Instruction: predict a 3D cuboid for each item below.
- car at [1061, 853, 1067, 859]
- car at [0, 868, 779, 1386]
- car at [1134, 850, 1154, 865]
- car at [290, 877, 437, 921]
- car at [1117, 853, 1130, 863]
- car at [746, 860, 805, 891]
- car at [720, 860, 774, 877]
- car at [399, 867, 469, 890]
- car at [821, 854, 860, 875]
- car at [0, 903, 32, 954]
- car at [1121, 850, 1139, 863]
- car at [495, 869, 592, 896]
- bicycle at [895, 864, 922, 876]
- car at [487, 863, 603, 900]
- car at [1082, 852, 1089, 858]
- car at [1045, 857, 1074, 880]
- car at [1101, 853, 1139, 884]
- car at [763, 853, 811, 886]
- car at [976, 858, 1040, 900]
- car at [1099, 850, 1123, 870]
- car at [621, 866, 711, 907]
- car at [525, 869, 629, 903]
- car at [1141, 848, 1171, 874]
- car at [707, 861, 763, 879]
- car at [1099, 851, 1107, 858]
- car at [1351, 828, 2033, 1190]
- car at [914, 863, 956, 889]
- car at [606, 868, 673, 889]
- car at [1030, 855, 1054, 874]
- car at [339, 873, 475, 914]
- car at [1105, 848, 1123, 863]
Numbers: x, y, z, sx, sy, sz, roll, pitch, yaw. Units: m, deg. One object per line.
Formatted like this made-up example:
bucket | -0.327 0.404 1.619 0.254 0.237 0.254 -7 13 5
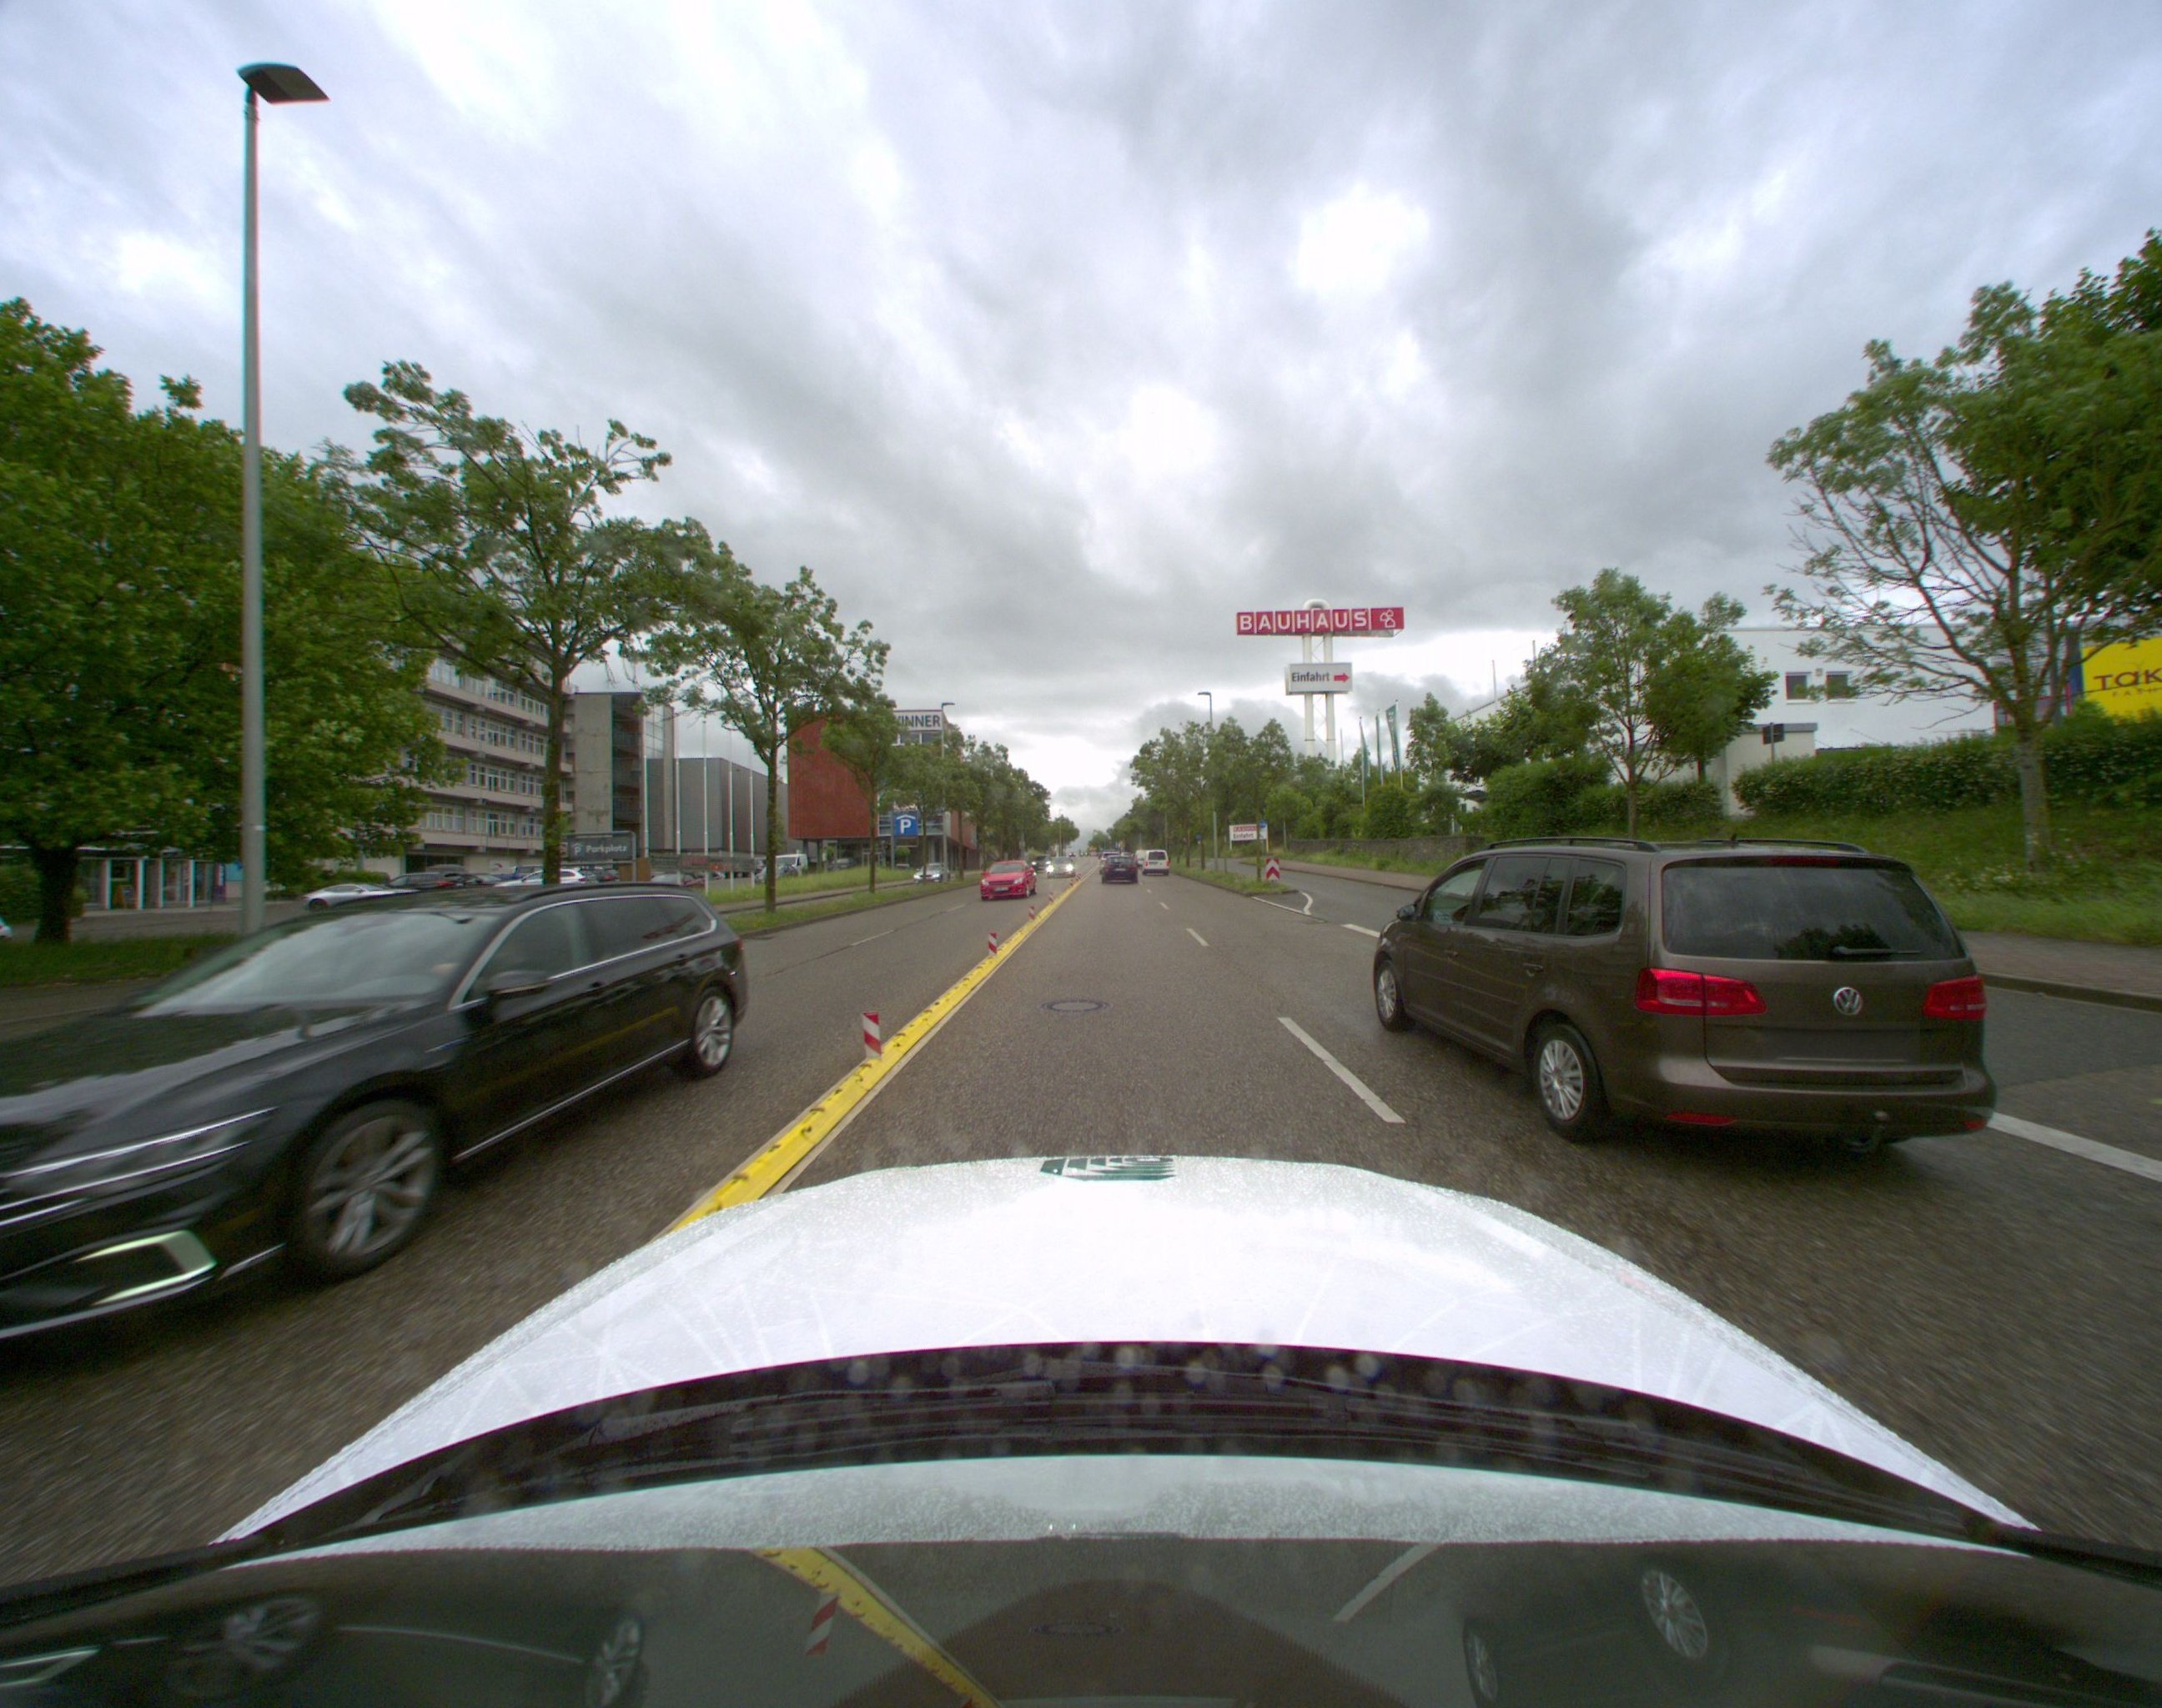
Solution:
car | -5.106 0.579 242.126 1.789 1.510 3.997 0 -1 -1
car | -3.615 0.890 4.750 1.820 1.466 4.617 -3 0 1
car | 6.250 0.361 81.429 1.787 1.510 4.001 0 -1 2
car | -32.318 2.009 36.834 4.599 1.745 1.960 0 1 -10
car | 6.999 0.689 134.116 1.789 1.510 3.997 0 -1 -1
car | -19.435 1.329 52.050 2.033 1.762 4.943 0 1 -1
car | -30.517 1.320 74.467 4.186 1.510 1.815 0 1 -7
car | -51.269 1.910 64.576 3.981 1.732 1.797 0 1 -6
car | -21.398 0.906 72.539 2.131 1.773 4.607 0 1 -1
car | -31.465 2.191 22.435 2.695 1.365 1.605 -3 1 -9
car | 5.765 0.339 95.315 1.789 1.510 3.997 0 -1 -1
car | -33.468 1.775 50.844 4.605 1.510 2.020 0 1 -7
bicycle | -15.011 1.397 70.893 2.066 0.935 1.095 3 -1 5
car | -27.786 1.409 42.340 4.594 1.745 1.963 0 1 -7
car | 1.364 0.328 240.833 1.789 1.510 3.997 0 -1 -1
car | -1.456 0.996 56.645 1.660 1.410 4.380 -4 0 2
car | 2.029 0.712 42.651 1.820 1.468 4.003 -2 0 2
car | -20.758 1.051 57.741 2.112 2.096 5.110 0 1 -7
car | -2.714 0.896 31.142 1.754 1.425 4.184 -2 0 3
car | 2.312 0.470 62.713 1.787 1.510 4.001 0 -1 2
car | -18.955 1.427 37.434 1.929 1.608 4.706 0 1 -3
car | -27.899 1.736 45.205 4.494 1.745 1.896 0 1 -7
car | 5.293 0.503 57.819 1.820 1.759 4.001 0 0 1
car | -30.521 1.424 71.944 4.104 1.510 1.815 0 1 -7
car | 4.942 0.075 186.108 1.788 1.510 3.999 0 -1 0
car | 3.387 0.679 5.696 1.679 1.581 4.219 0 0 1
car | -10.036 1.491 56.247 1.860 1.553 4.576 -4 0 1
car | -35.091 1.939 64.809 4.271 1.510 1.843 0 1 -7
car | -3.692 0.986 77.550 1.780 1.614 4.439 -4 0 2
car | -32.819 1.900 39.820 4.599 1.745 2.126 0 1 -10
car | 3.447 0.171 85.824 1.788 1.510 4.000 0 -1 1
